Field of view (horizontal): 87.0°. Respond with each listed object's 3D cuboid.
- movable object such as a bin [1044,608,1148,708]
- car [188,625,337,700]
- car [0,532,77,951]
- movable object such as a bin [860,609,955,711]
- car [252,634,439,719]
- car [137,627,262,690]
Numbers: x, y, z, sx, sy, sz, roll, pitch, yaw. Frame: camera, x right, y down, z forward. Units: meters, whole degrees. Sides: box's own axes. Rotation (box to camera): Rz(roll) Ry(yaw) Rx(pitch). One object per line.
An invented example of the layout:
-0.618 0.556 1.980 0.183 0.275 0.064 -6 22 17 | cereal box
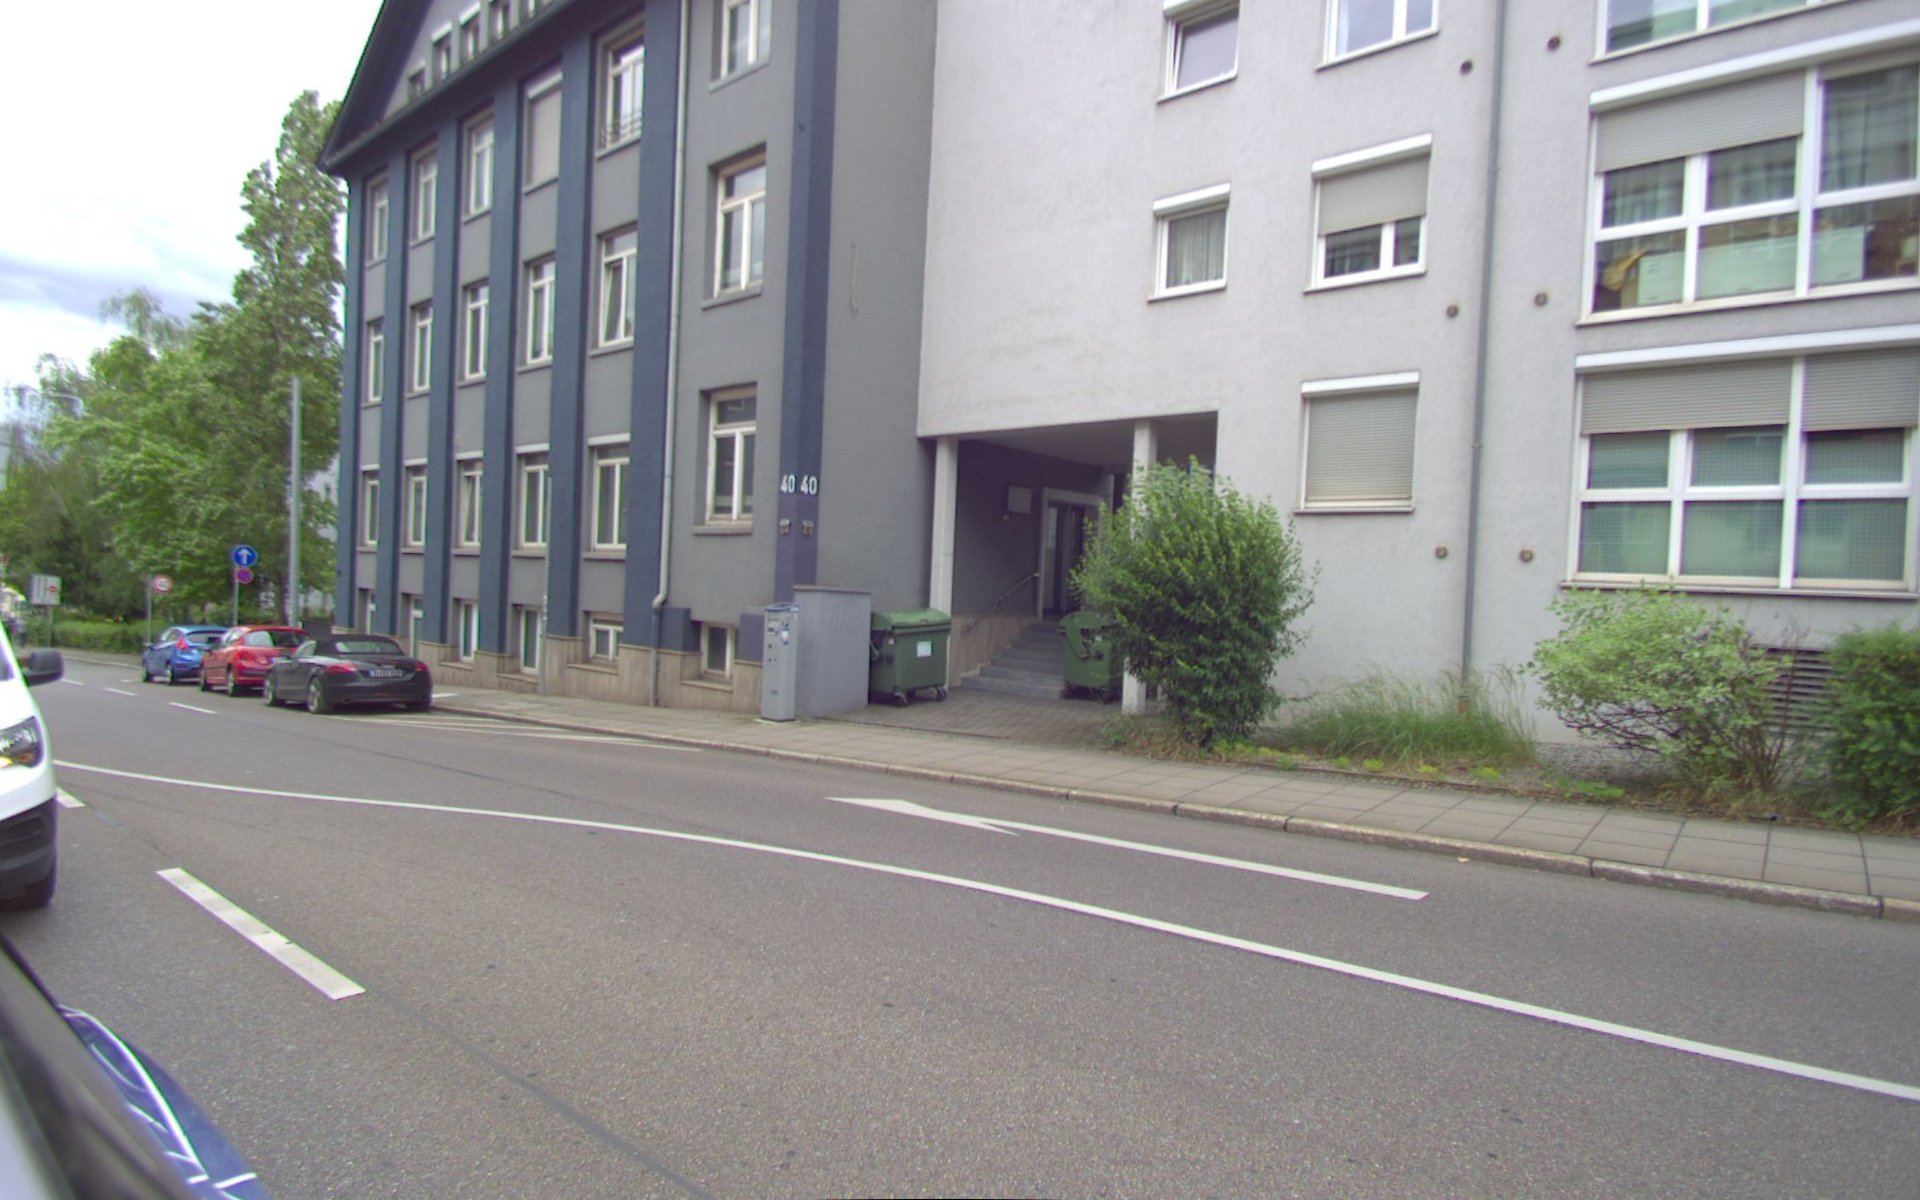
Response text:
2.230 0.918 16.628 1.190 1.489 1.132 5 2 41 | movable object such as a bin
-15.272 1.336 22.094 3.868 1.485 1.795 -2 -4 43 | car
-6.454 0.664 5.542 4.937 1.821 1.816 -1 0 42 | car
-0.807 0.895 15.696 0.784 1.467 1.251 0 1 44 | movable object such as a bin
-11.049 1.310 18.089 4.040 1.337 1.701 -1 -4 42 | car
-19.349 1.443 25.696 3.724 1.465 1.702 -1 -3 40 | car
